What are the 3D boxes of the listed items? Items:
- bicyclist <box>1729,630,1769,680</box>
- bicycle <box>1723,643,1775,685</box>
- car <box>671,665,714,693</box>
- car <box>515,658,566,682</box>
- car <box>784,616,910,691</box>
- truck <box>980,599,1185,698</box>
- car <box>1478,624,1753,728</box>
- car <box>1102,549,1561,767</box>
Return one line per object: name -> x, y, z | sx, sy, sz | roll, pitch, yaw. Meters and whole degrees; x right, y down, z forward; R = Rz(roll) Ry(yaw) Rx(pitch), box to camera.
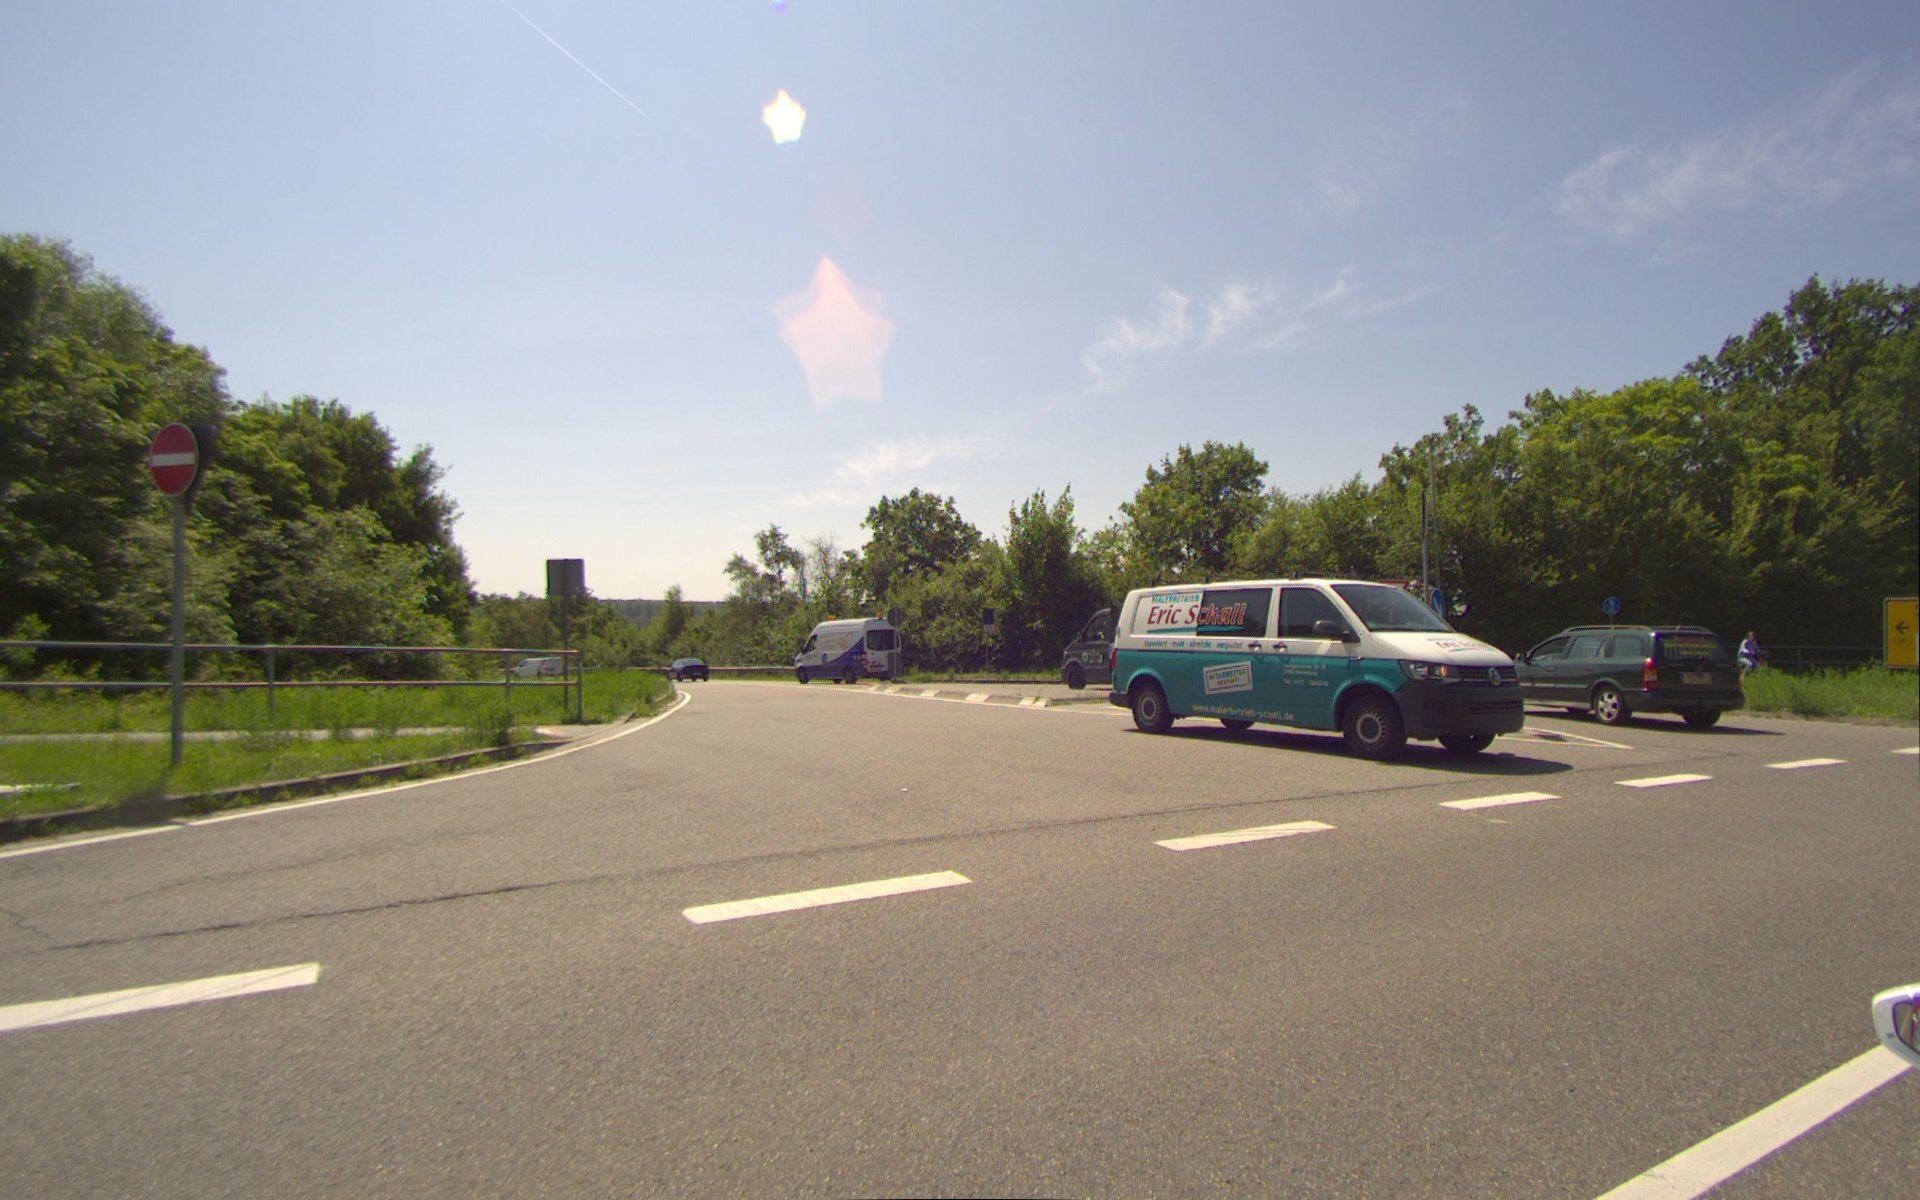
bicyclist -> 22.277, 1.550, 28.372 | 0.676, 1.381, 0.609 | 1, -1, 7
bicycle -> 22.263, 1.795, 28.375 | 0.428, 1.128, 1.483 | 1, -1, 7
car -> -16.615, 4.902, 62.231 | 1.657, 1.683, 3.972 | 1, -5, -29
car -> -36.793, 6.180, 87.987 | 5.119, 1.948, 2.006 | -5, -4, 41
car -> -4.761, 2.286, 41.591 | 2.097, 2.886, 5.940 | 2, -5, -42
truck -> 3.431, 1.459, 29.846 | 2.126, 2.598, 6.571 | 2, -4, -37
car -> 10.302, 1.141, 16.161 | 1.693, 1.476, 3.795 | 0, -2, -6
car -> 4.118, 0.657, 12.203 | 1.977, 2.054, 5.146 | 1, -3, -31
